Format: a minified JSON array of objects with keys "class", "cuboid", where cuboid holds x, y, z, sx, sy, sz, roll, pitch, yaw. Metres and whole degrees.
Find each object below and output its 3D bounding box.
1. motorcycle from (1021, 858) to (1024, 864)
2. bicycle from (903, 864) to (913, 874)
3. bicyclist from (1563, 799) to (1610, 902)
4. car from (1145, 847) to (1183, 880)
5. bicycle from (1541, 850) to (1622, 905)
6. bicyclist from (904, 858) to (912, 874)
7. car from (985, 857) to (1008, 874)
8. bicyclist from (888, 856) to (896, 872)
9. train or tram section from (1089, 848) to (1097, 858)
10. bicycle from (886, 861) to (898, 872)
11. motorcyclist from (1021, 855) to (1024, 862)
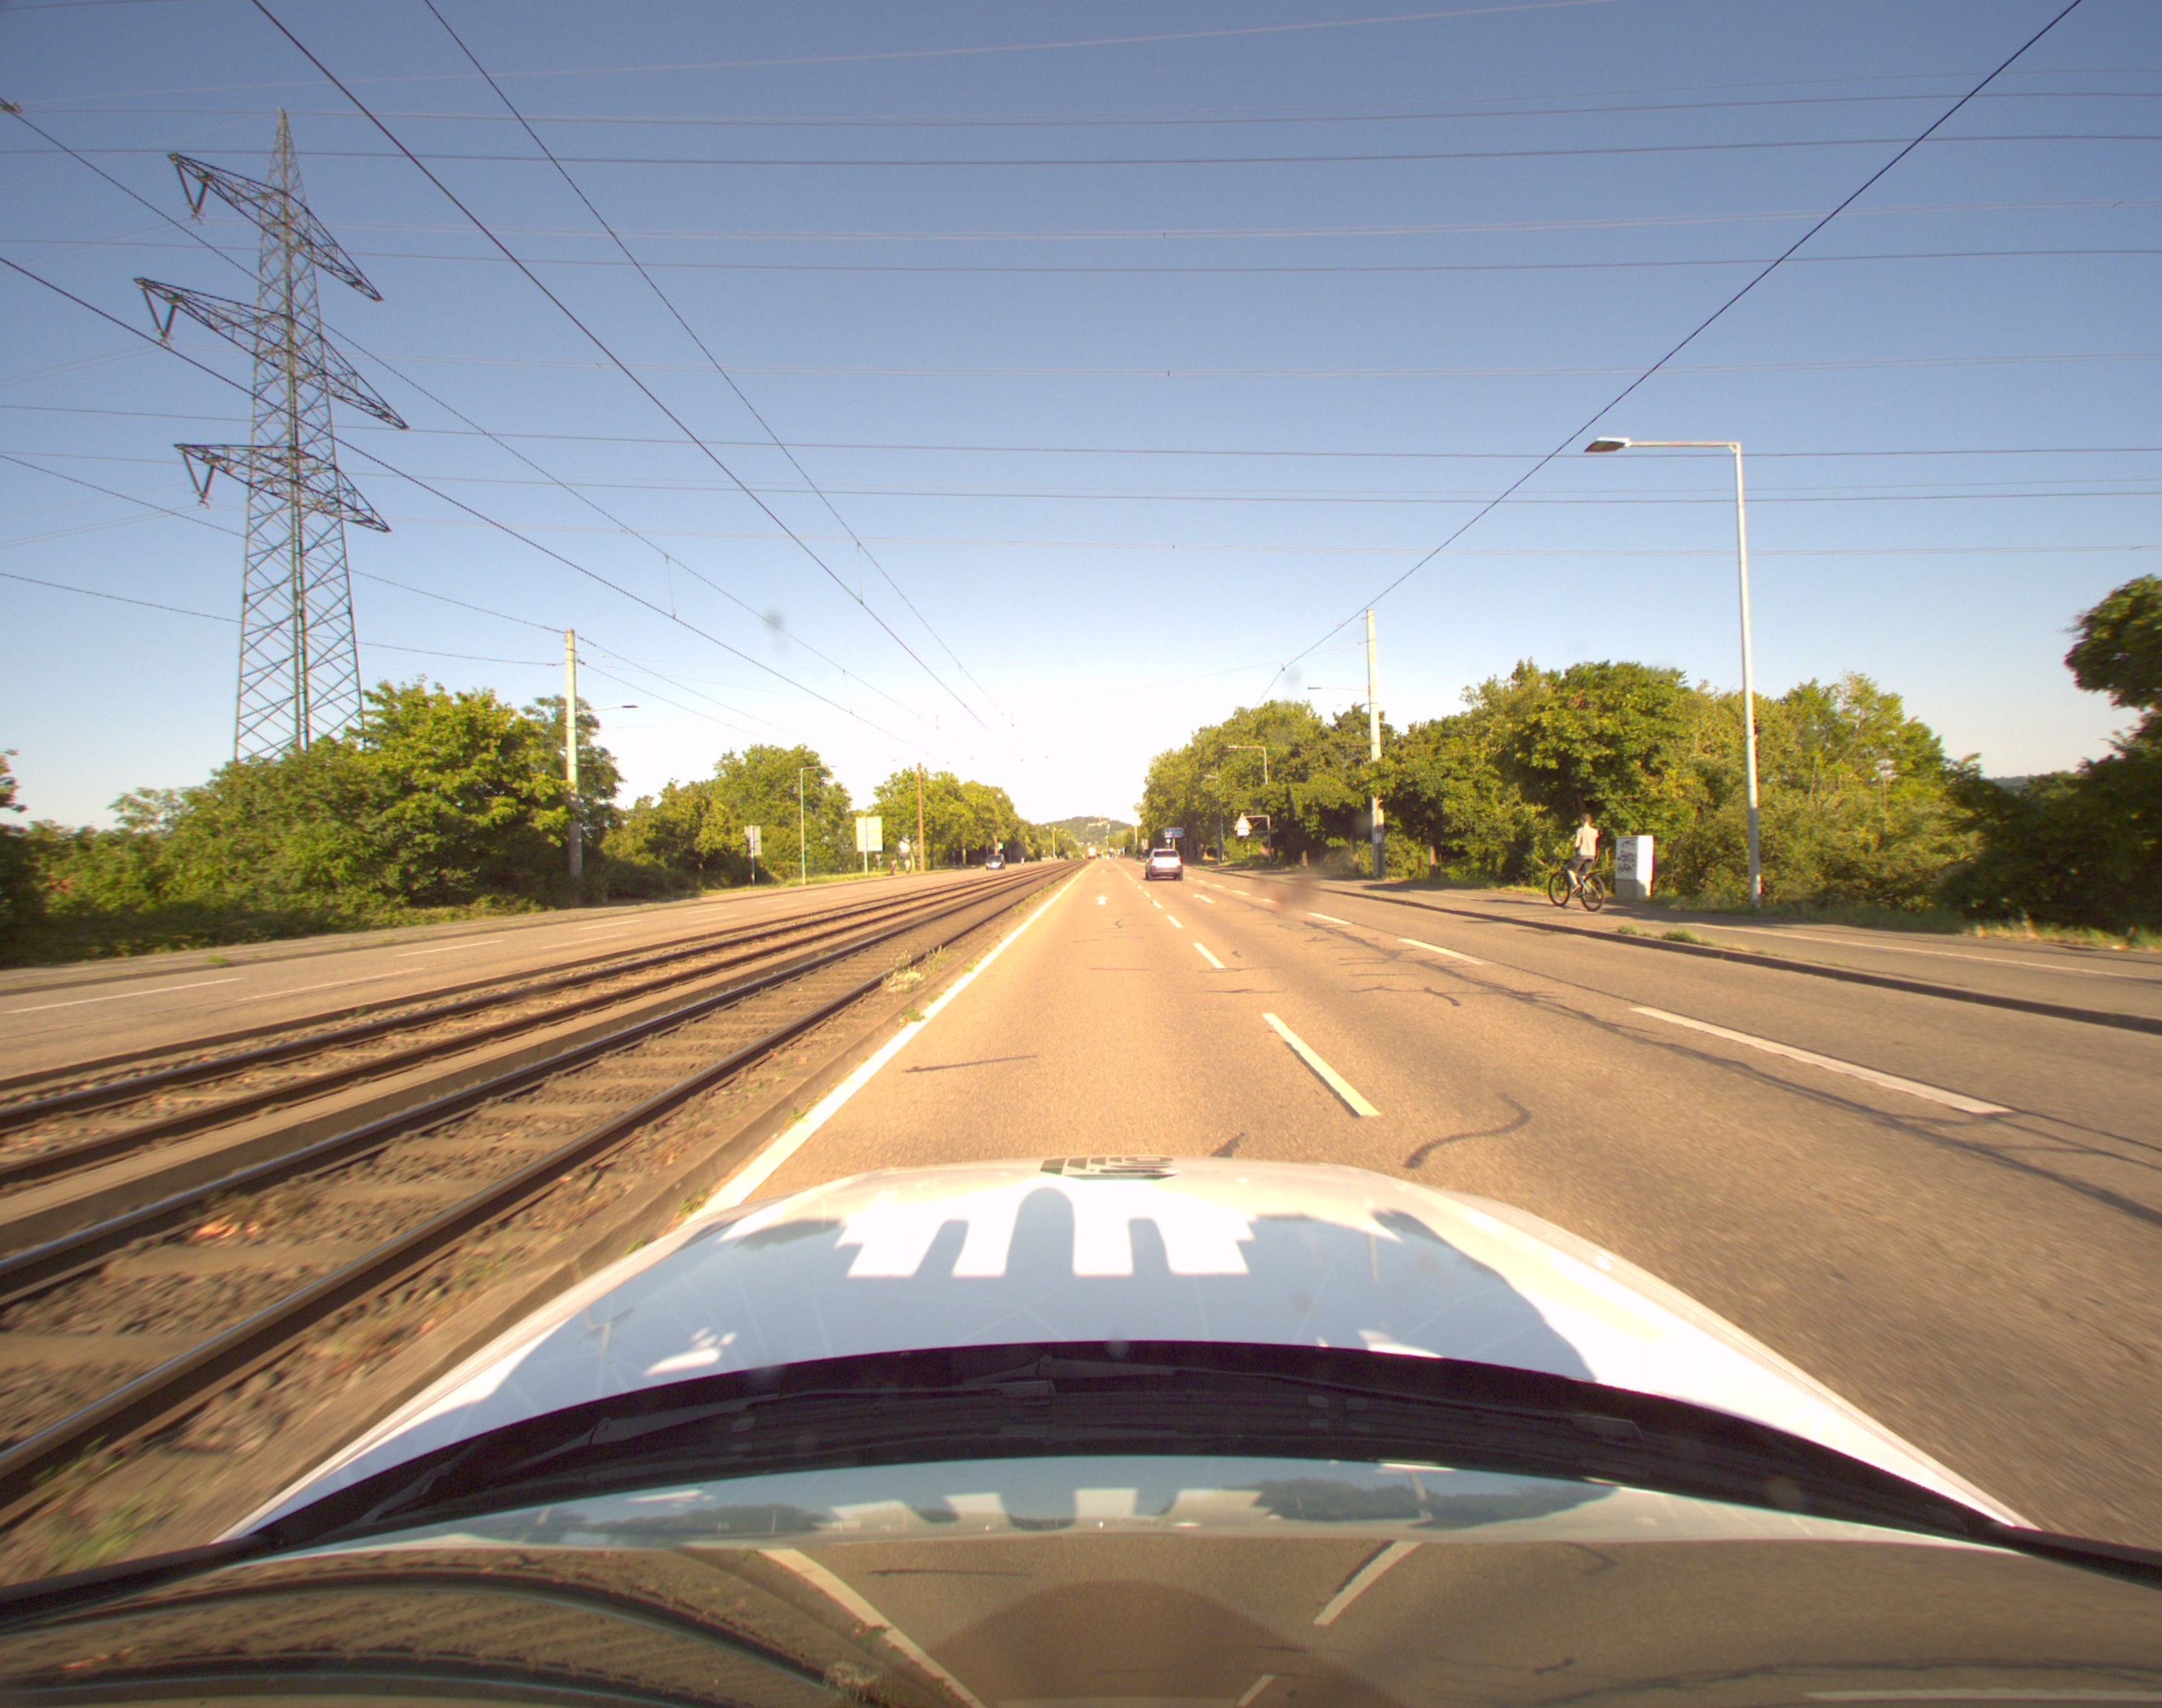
[{"class":"motorcycle","cuboid":[-10.770,1.205,149.959,0.534,1.091,1.902,0,-1,1]},{"class":"bicycle","cuboid":[-18.026,1.560,84.840,0.588,1.022,2.186,-2,-1,1]},{"class":"bicyclist","cuboid":[10.212,-0.068,16.470,0.525,2.017,0.730,0,-1,3]},{"class":"car","cuboid":[4.473,0.519,44.331,1.880,1.693,4.260,-1,-1,4]},{"class":"bicycle","cuboid":[10.222,0.453,16.717,0.525,1.060,1.973,0,-1,3]},{"class":"bicyclist","cuboid":[-18.022,1.255,84.951,0.588,1.611,0.967,-2,-1,1]},{"class":"car","cuboid":[-10.373,1.436,100.698,1.985,1.923,4.864,-2,-1,3]},{"class":"bicyclist","cuboid":[-19.270,1.010,83.061,0.588,1.528,0.906,-2,-1,1]},{"class":"train or tram section","cuboid":[3.853,-0.344,261.701,2.302,3.217,9.478,0,-1,2]},{"class":"bicycle","cuboid":[-19.271,1.270,83.027,0.588,1.022,2.186,-2,-1,1]},{"class":"motorcyclist","cuboid":[-10.766,0.910,150.030,0.534,1.270,0.805,0,-1,1]}]
